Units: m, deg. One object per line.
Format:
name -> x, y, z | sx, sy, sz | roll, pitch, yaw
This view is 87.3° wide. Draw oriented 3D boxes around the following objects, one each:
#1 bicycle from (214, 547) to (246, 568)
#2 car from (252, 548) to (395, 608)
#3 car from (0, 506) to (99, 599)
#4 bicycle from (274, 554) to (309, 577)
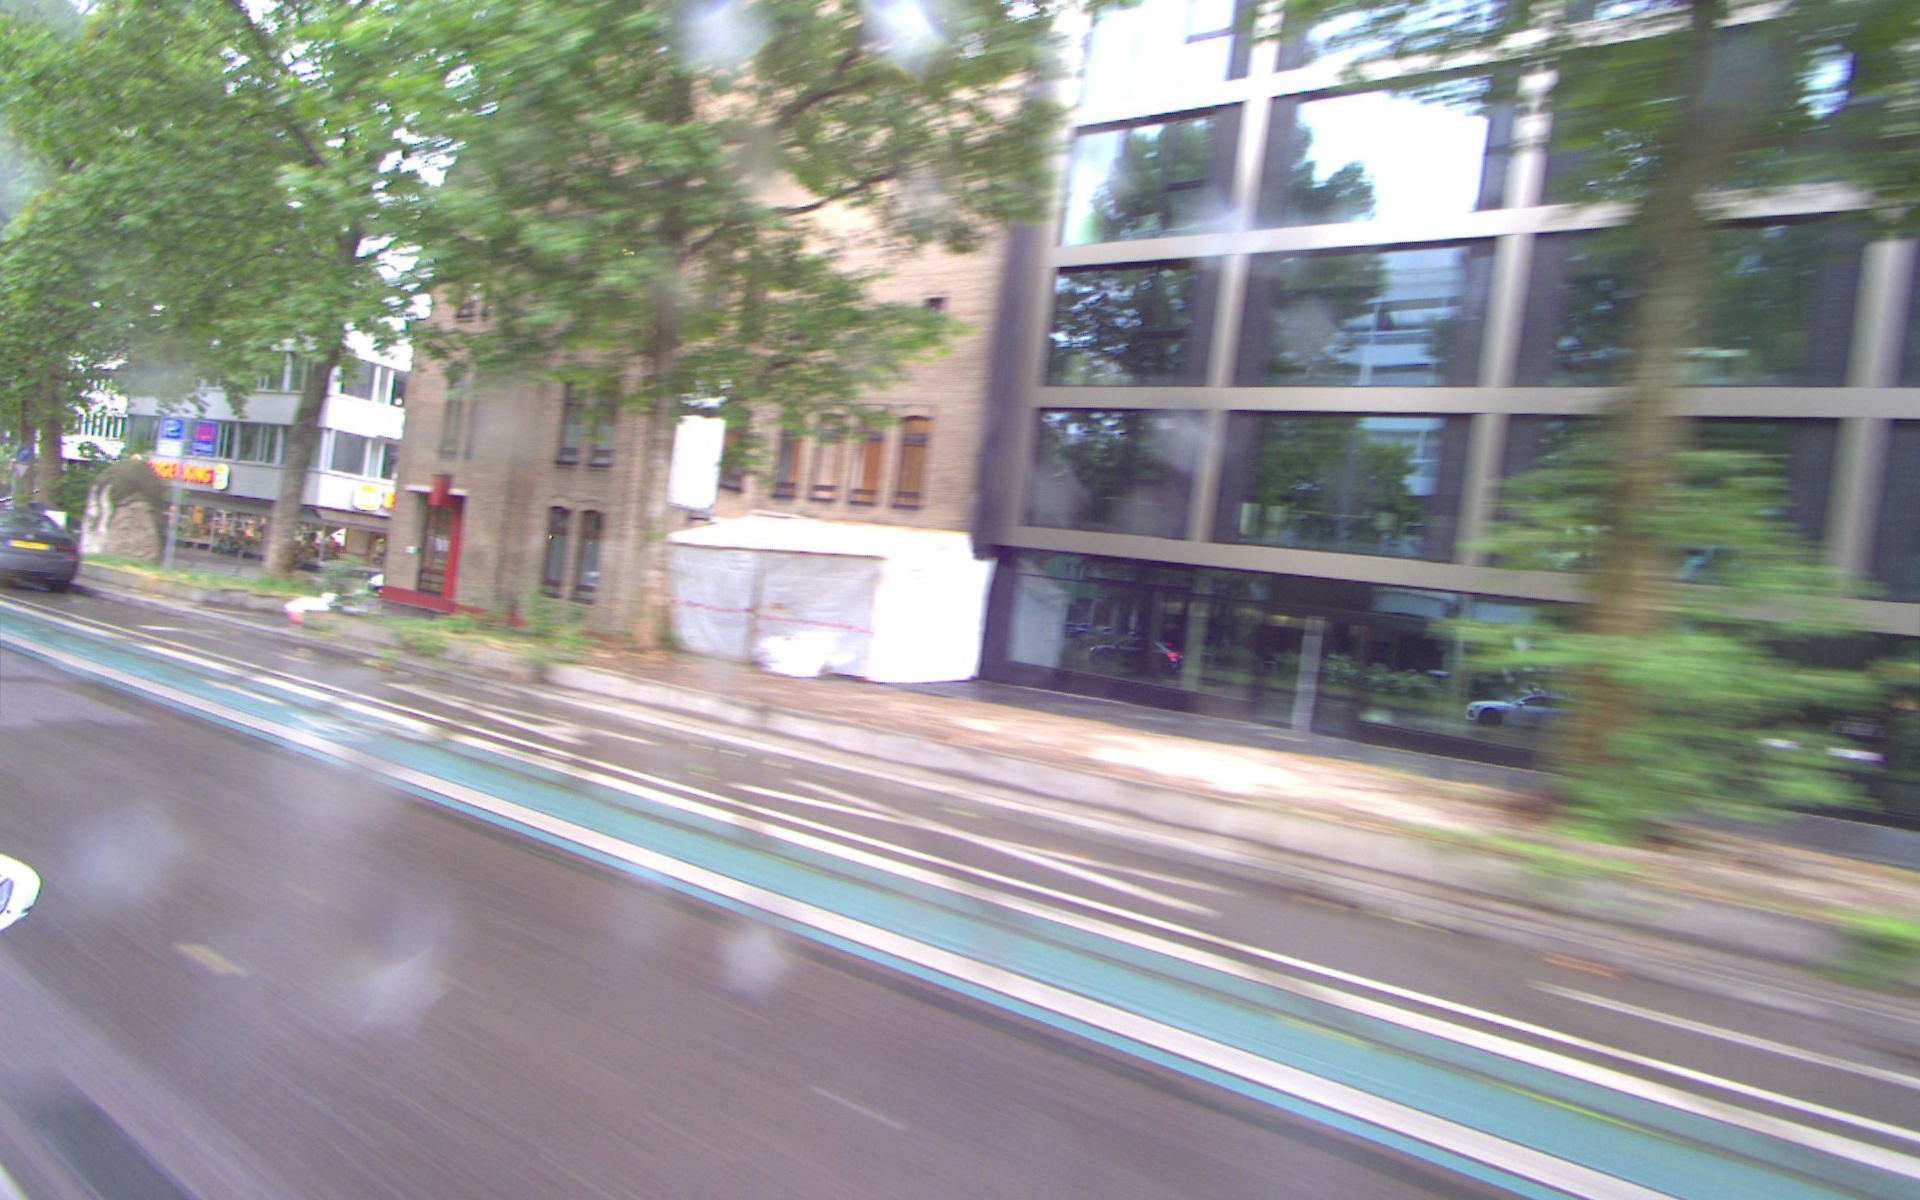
bicycle -> -35.465, -2.072, 48.877 | 1.993, 0.845, 0.449 | 6, -3, 32
car -> -24.438, -0.815, 38.703 | 4.234, 1.583, 2.032 | 11, -5, -42
car -> -18.300, -1.052, 18.833 | 4.534, 1.436, 1.878 | 6, -4, 31
bicycle -> -30.662, -1.575, 46.135 | 1.993, 0.845, 0.449 | 6, -3, 32
